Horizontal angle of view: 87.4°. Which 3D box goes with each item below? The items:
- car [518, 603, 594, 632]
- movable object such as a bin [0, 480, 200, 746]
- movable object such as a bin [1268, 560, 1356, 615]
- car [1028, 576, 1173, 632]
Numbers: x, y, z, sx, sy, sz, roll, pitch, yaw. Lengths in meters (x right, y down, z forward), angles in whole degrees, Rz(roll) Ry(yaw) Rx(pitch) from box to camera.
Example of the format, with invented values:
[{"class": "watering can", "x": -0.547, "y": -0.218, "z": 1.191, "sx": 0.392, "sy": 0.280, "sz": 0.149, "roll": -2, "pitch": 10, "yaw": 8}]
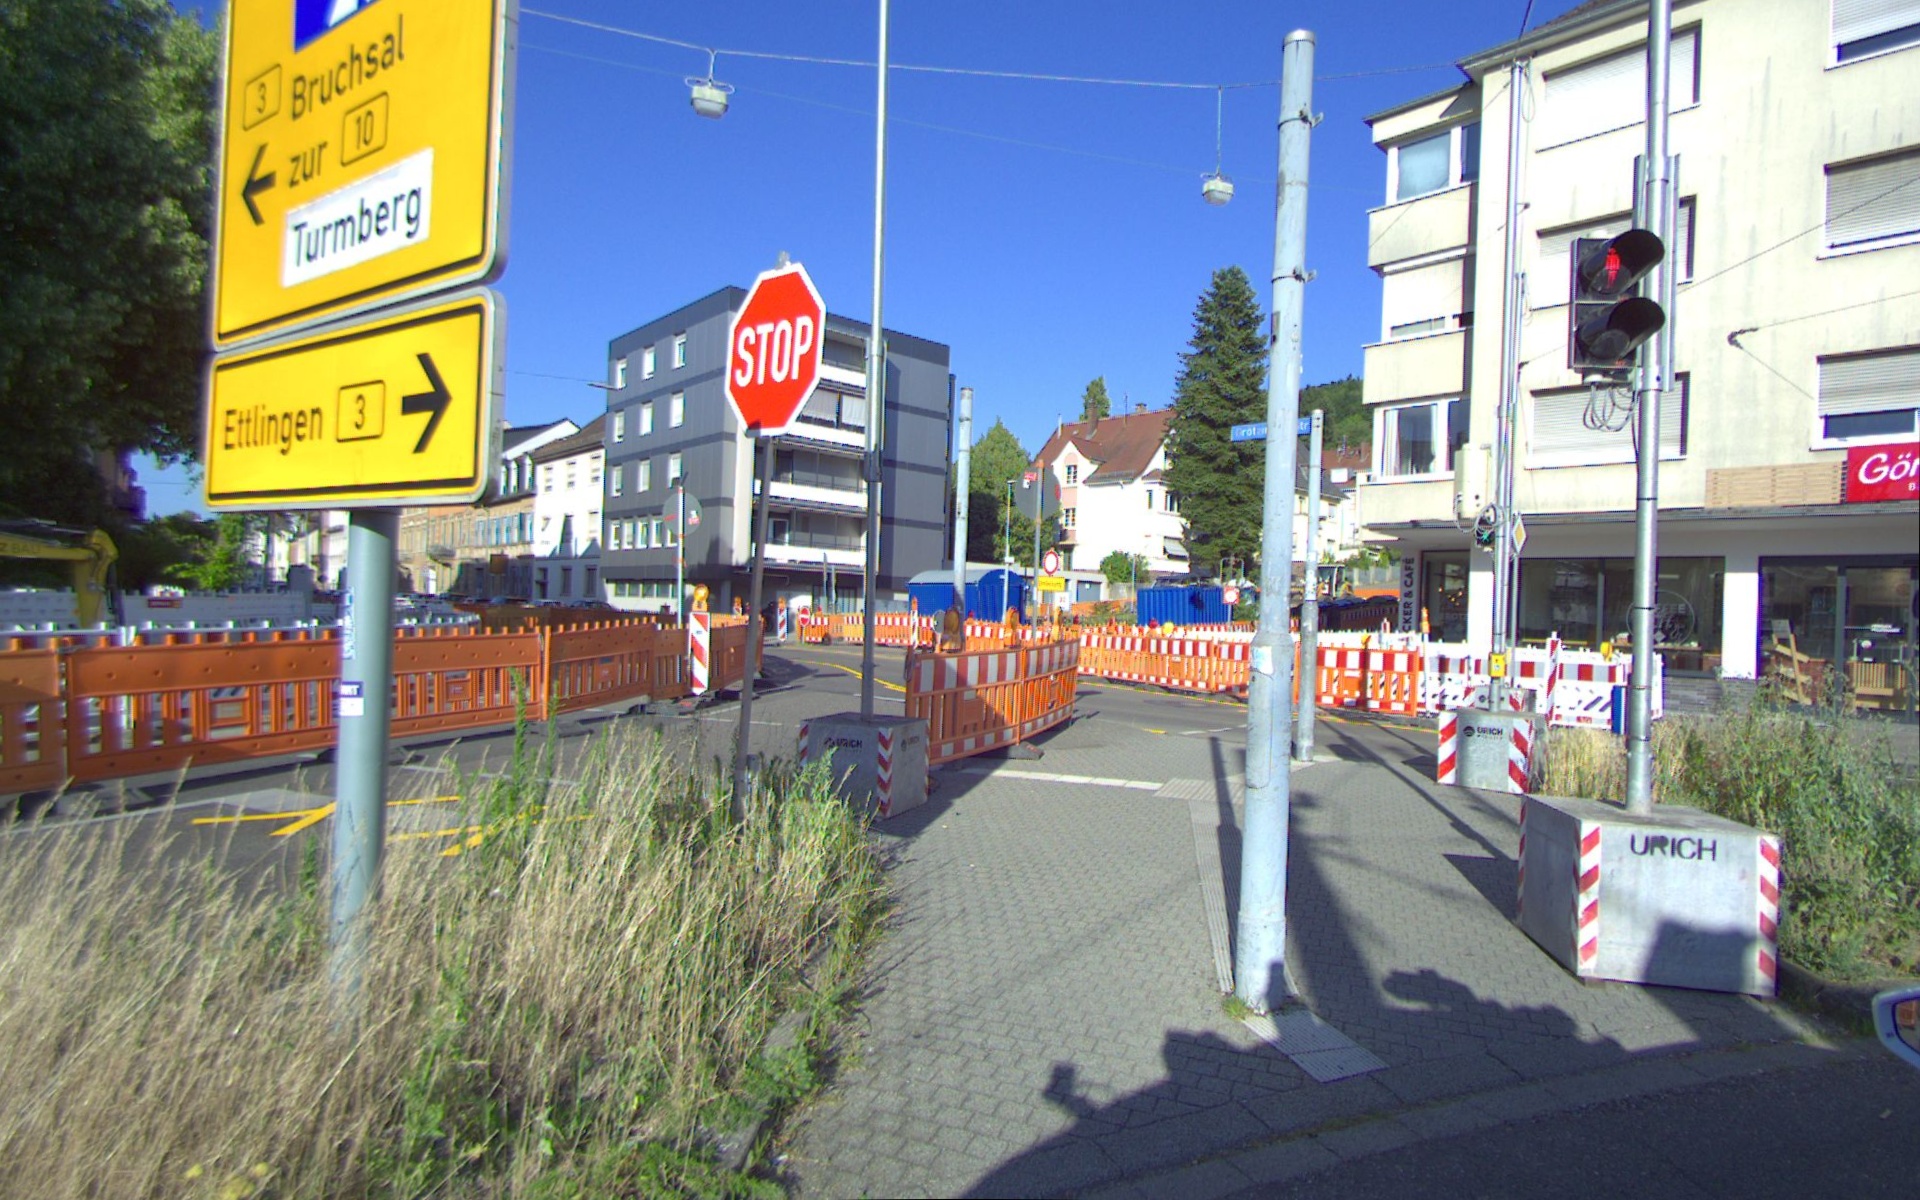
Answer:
[{"class": "car", "x": -20.989, "y": 0.914, "z": 52.219, "sx": 3.379, "sy": 1.430, "sz": 1.498, "roll": 2, "pitch": 0, "yaw": -35}, {"class": "movable object such as a bin", "x": -9.433, "y": 0.101, "z": 8.950, "sx": 1.622, "sy": 2.355, "sz": 3.913, "roll": 1, "pitch": 0, "yaw": 30}, {"class": "movable object such as a bin", "x": 17.650, "y": -0.562, "z": 50.249, "sx": 4.508, "sy": 2.527, "sz": 1.935, "roll": 2, "pitch": -1, "yaw": -36}, {"class": "car", "x": 6.054, "y": 0.219, "z": 42.962, "sx": 6.093, "sy": 2.149, "sz": 2.565, "roll": 2, "pitch": -1, "yaw": -37}]
